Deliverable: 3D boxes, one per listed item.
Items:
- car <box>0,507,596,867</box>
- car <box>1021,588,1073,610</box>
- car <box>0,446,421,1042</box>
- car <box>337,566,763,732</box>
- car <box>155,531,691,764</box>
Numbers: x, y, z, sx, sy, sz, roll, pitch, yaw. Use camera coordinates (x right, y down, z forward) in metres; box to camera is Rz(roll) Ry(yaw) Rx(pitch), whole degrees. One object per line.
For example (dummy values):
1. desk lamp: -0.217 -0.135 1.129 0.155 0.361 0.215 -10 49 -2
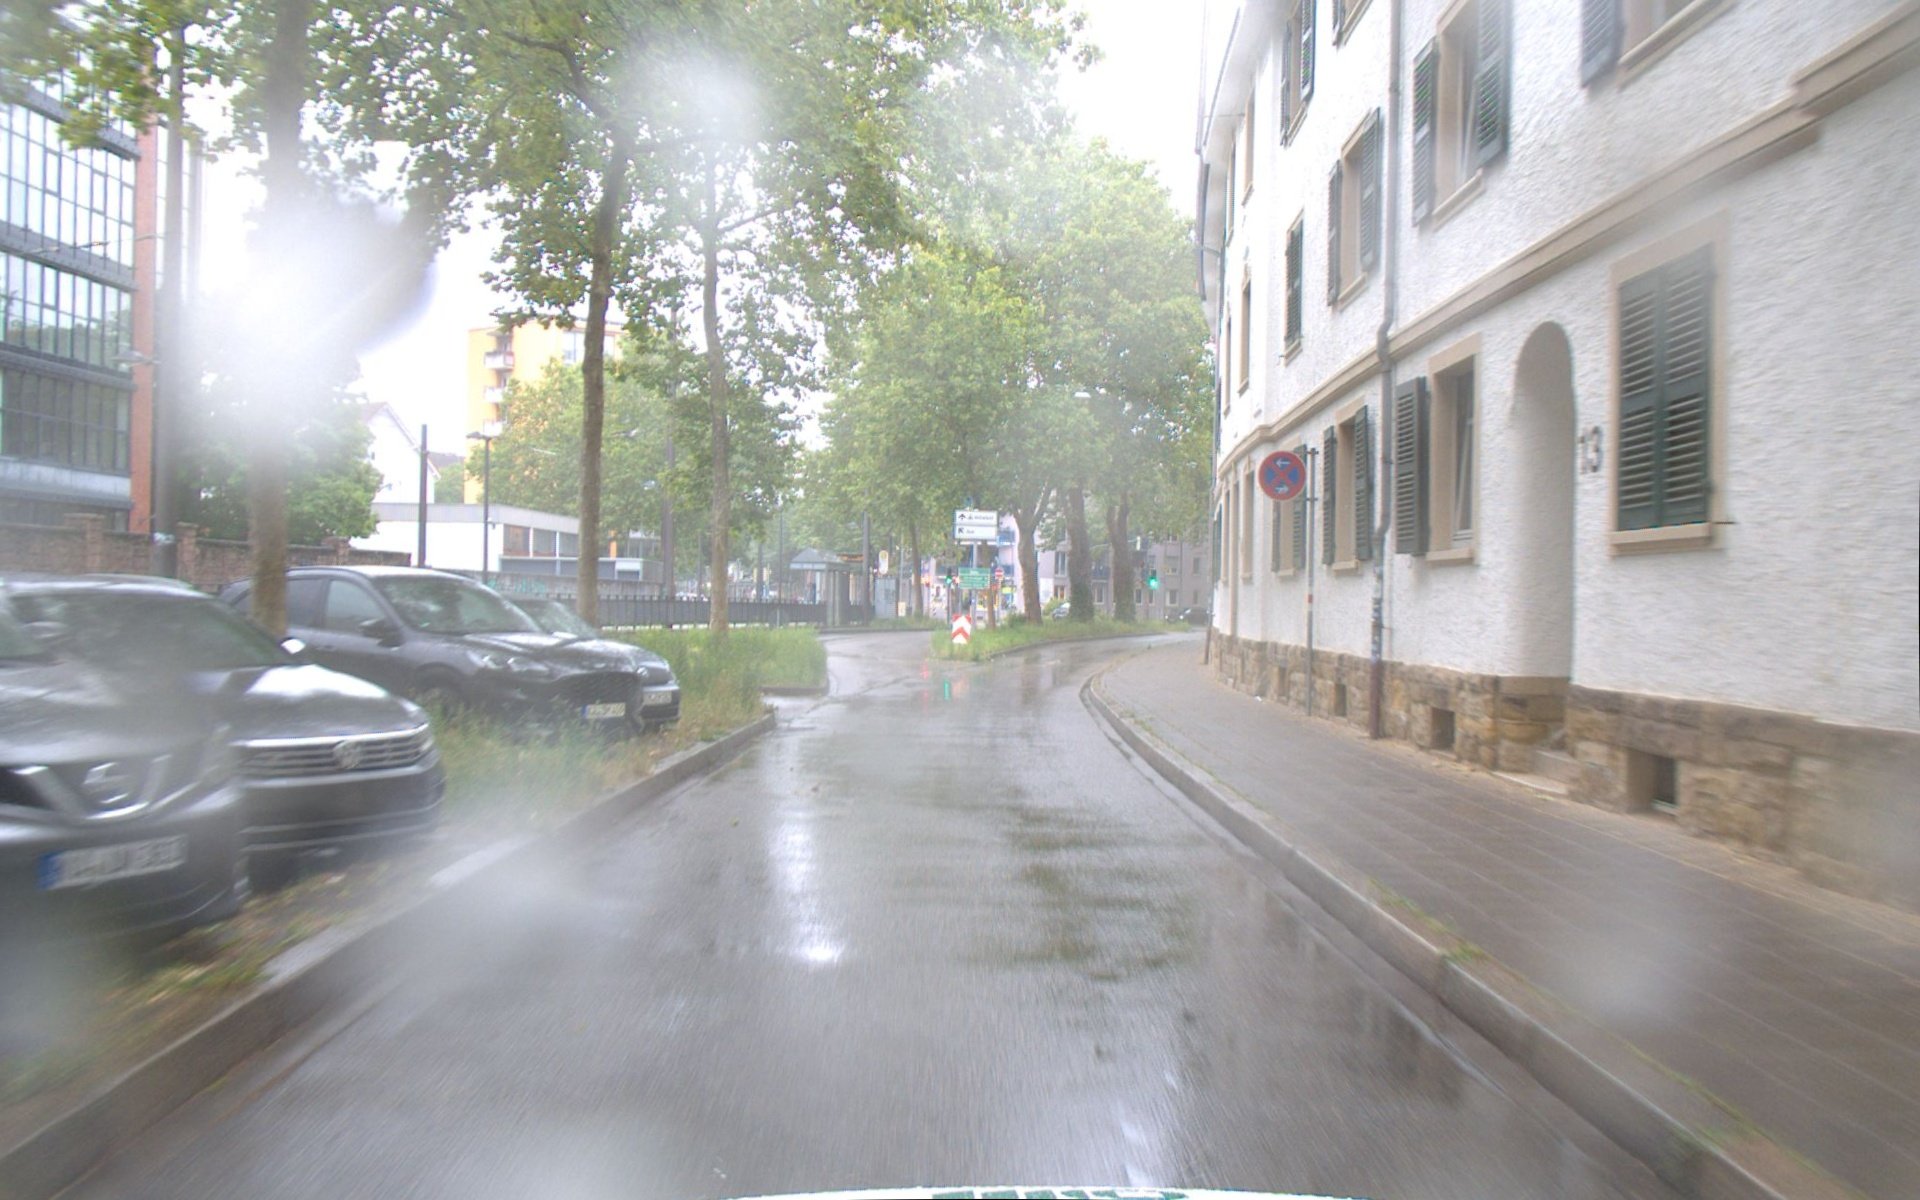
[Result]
1. car: -4.330 0.372 9.096 4.462 1.547 1.919 0 1 31
2. car: 6.975 -0.038 132.938 3.969 1.625 1.968 2 0 -44
3. car: -4.322 0.346 6.017 4.370 1.625 1.922 1 1 25
4. car: -4.440 0.480 17.808 4.269 1.538 1.957 -1 2 30
5. car: -4.740 0.347 14.471 4.433 1.744 1.957 -1 2 30
